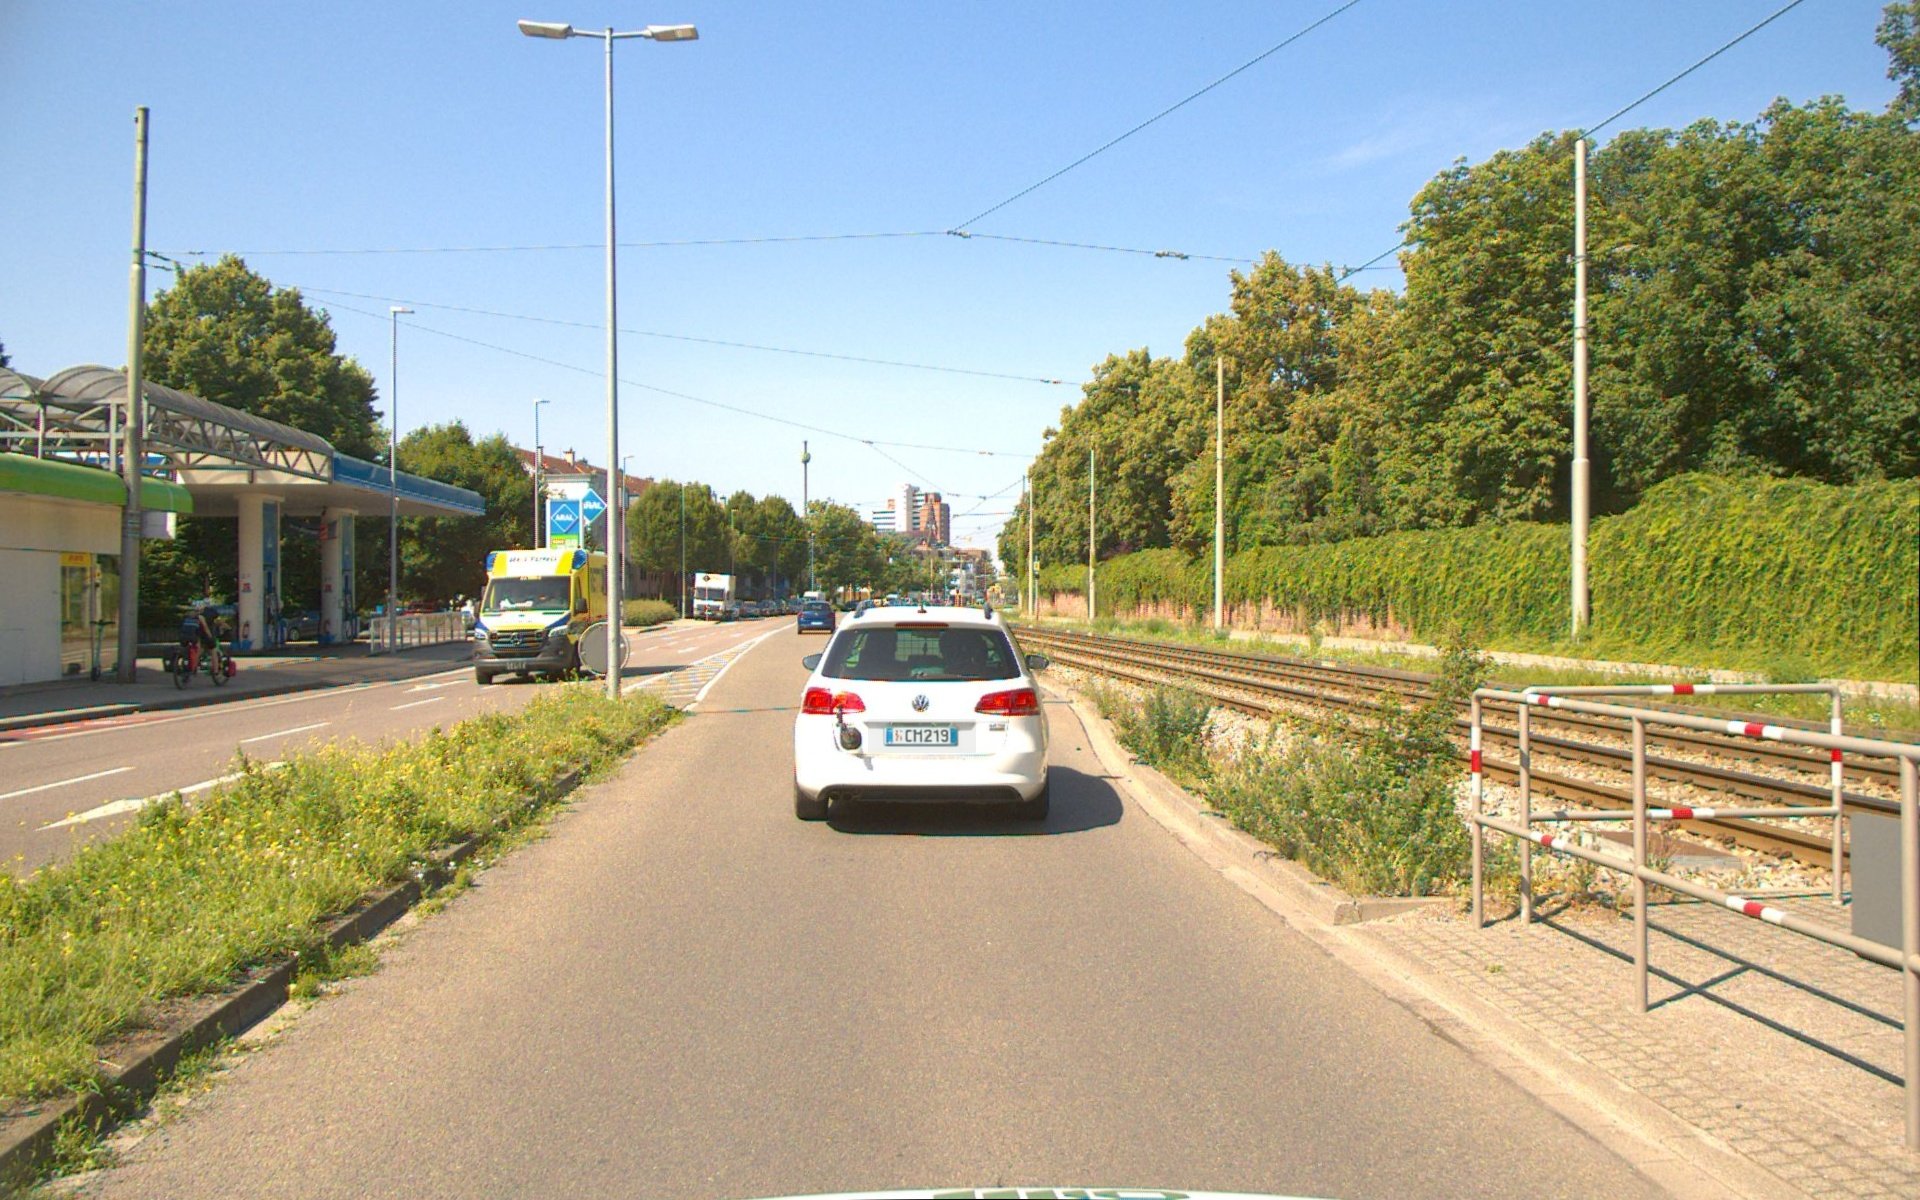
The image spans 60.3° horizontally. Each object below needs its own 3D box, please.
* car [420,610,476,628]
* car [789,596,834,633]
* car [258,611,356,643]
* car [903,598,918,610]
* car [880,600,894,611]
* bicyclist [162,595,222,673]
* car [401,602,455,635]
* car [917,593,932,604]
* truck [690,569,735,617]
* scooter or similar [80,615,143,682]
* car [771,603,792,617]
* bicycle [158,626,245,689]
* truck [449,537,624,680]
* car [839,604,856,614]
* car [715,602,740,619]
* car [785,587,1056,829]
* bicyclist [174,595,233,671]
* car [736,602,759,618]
[{"bbox_3d":[-37.855,1.418,122.255,3.573,1.226,1.576,-1,0,7],"label":"car"},{"bbox_3d":[-6.562,0.629,73.406,1.764,1.533,3.998,0,1,-2],"label":"car"},{"bbox_3d":[-29.347,1.193,74.421,1.762,1.369,4.245,-1,0,19],"label":"car"},{"bbox_3d":[-6.837,0.540,228.797,1.763,1.534,4.002,0,0,4],"label":"car"},{"bbox_3d":[-10.655,0.779,242.057,1.625,1.445,4.310,-3,0,1],"label":"car"},{"bbox_3d":[-14.726,0.636,31.738,0.831,1.460,0.831,0,1,-8],"label":"bicyclist"},{"bbox_3d":[-29.344,1.003,91.373,1.764,1.597,4.514,-1,1,-4],"label":"car"},{"bbox_3d":[-5.151,-0.224,241.779,1.763,1.486,4.002,-1,0,4],"label":"car"},{"bbox_3d":[-18.982,-0.513,127.378,2.614,3.592,8.584,1,0,-4],"label":"truck"},{"bbox_3d":[-16.743,0.947,32.658,0.432,1.259,1.346,-1,0,5],"label":"scooter or similar"},{"bbox_3d":[-19.570,1.128,181.782,1.655,1.500,4.049,2,0,2],"label":"car"},{"bbox_3d":[-14.819,1.099,32.395,0.810,1.114,2.767,-1,0,-9],"label":"bicycle"},{"bbox_3d":[-8.920,0.155,35.614,2.284,2.714,7.354,-1,0,-4],"label":"truck"},{"bbox_3d":[-15.690,1.272,231.197,1.663,1.442,4.003,-1,0,8],"label":"car"},{"bbox_3d":[-19.606,0.884,139.586,1.723,1.454,4.278,1,0,-4],"label":"car"},{"bbox_3d":[-0.356,0.675,12.411,1.657,1.476,4.455,1,0,-3],"label":"car"},{"bbox_3d":[-14.823,0.640,32.437,0.831,1.461,0.831,-1,0,-9],"label":"bicyclist"},{"bbox_3d":[-20.277,0.974,158.093,1.745,1.509,4.854,1,-1,-3],"label":"car"}]
